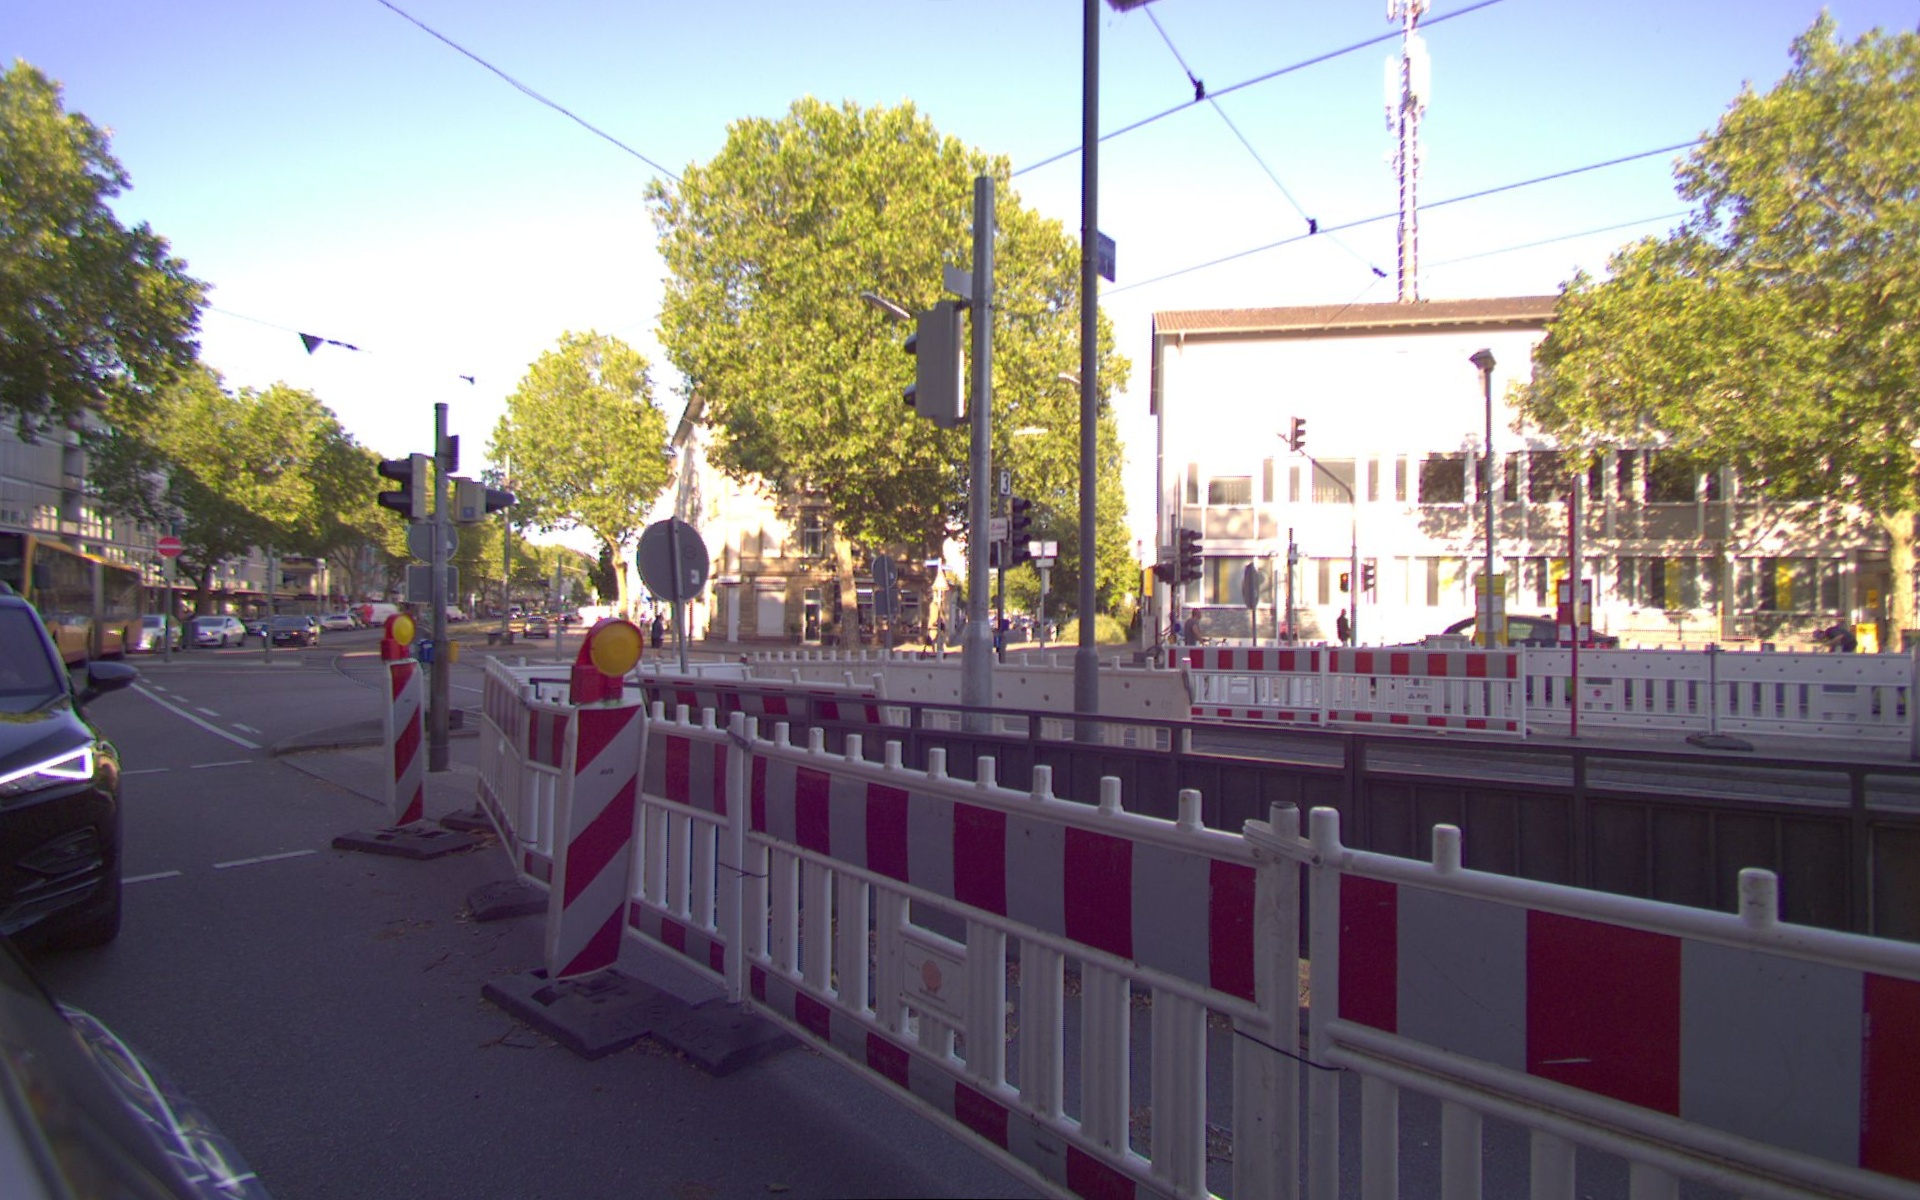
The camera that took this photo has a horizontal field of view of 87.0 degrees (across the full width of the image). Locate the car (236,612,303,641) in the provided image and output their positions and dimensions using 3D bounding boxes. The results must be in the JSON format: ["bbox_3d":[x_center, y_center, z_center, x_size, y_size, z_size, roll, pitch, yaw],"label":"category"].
[{"bbox_3d":[-50.715,1.958,74.444,3.932,2.029,2.006,1,-2,-32],"label":"car"}]

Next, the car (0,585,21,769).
[{"bbox_3d":[-10.749,0.701,9.814,4.073,1.656,1.973,-1,-2,41],"label":"car"}]

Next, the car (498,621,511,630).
[{"bbox_3d":[-84.861,4.769,188.750,1.809,1.715,4.143,1,-2,-19],"label":"car"}]

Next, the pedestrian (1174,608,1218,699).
[{"bbox_3d":[4.652,1.049,19.976,0.545,1.760,0.693,1,-2,-24],"label":"pedestrian"}]

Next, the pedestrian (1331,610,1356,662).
[{"bbox_3d":[11.709,1.102,30.911,0.649,1.564,0.563,-1,-2,28],"label":"pedestrian"}]

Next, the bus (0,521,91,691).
[{"bbox_3d":[-20.903,0.161,21.731,2.678,3.130,8.641,1,-2,-36],"label":"bus"}]

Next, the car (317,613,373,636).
[{"bbox_3d":[-54.766,2.190,90.182,3.938,2.029,2.002,1,-2,-42],"label":"car"}]

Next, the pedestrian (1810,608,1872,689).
[{"bbox_3d":[20.583,1.126,23.659,0.923,1.847,0.693,-1,-2,28],"label":"pedestrian"}]

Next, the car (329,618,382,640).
[{"bbox_3d":[-56.775,2.693,95.126,3.938,2.029,2.002,1,-2,-42],"label":"car"}]

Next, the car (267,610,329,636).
[{"bbox_3d":[-53.750,1.865,82.188,3.938,2.029,2.002,1,-2,-42],"label":"car"}]

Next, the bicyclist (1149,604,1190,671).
[{"bbox_3d":[6.451,1.144,31.154,0.983,2.029,0.844,-1,-2,40],"label":"bicyclist"}]

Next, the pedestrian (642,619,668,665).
[{"bbox_3d":[-10.425,1.415,34.612,0.594,1.545,0.746,1,-2,-38],"label":"pedestrian"}]

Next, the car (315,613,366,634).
[{"bbox_3d":[-60.090,2.301,98.204,3.938,2.029,2.002,1,-2,-42],"label":"car"}]

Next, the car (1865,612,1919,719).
[{"bbox_3d":[16.900,1.036,15.781,3.994,1.674,1.974,-1,-2,38],"label":"car"}]

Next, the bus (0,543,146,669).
[{"bbox_3d":[-25.785,0.224,28.932,2.676,3.130,8.622,1,-2,-31],"label":"bus"}]

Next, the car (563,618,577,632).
[{"bbox_3d":[-52.997,3.398,137.542,1.661,1.866,4.013,1,-1,-20],"label":"car"}]

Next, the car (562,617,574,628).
[{"bbox_3d":[-62.479,3.590,161.323,1.661,1.761,4.013,1,-1,-20],"label":"car"}]

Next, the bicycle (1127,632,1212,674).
[{"bbox_3d":[6.431,1.607,31.162,2.461,1.202,0.841,-1,-2,37],"label":"bicycle"}]

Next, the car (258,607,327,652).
[{"bbox_3d":[-31.444,1.378,47.778,1.965,2.029,4.013,1,-1,-22],"label":"car"}]

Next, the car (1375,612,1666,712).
[{"bbox_3d":[10.477,1.081,19.075,4.552,1.674,1.974,-1,-2,38],"label":"car"}]

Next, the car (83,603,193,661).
[{"bbox_3d":[-30.481,1.158,37.672,1.965,2.029,4.111,1,-1,-21],"label":"car"}]

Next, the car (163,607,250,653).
[{"bbox_3d":[-34.710,1.357,46.745,1.966,2.029,4.012,1,-1,-17],"label":"car"}]

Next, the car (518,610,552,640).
[{"bbox_3d":[-28.969,1.700,69.137,1.965,2.029,4.013,1,-1,-20],"label":"car"}]

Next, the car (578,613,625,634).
[{"bbox_3d":[-34.259,2.235,96.787,1.990,2.029,3.963,0,-2,27],"label":"car"}]

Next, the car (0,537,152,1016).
[{"bbox_3d":[-5.275,0.646,4.590,3.998,1.719,1.818,-1,-2,41],"label":"car"}]
